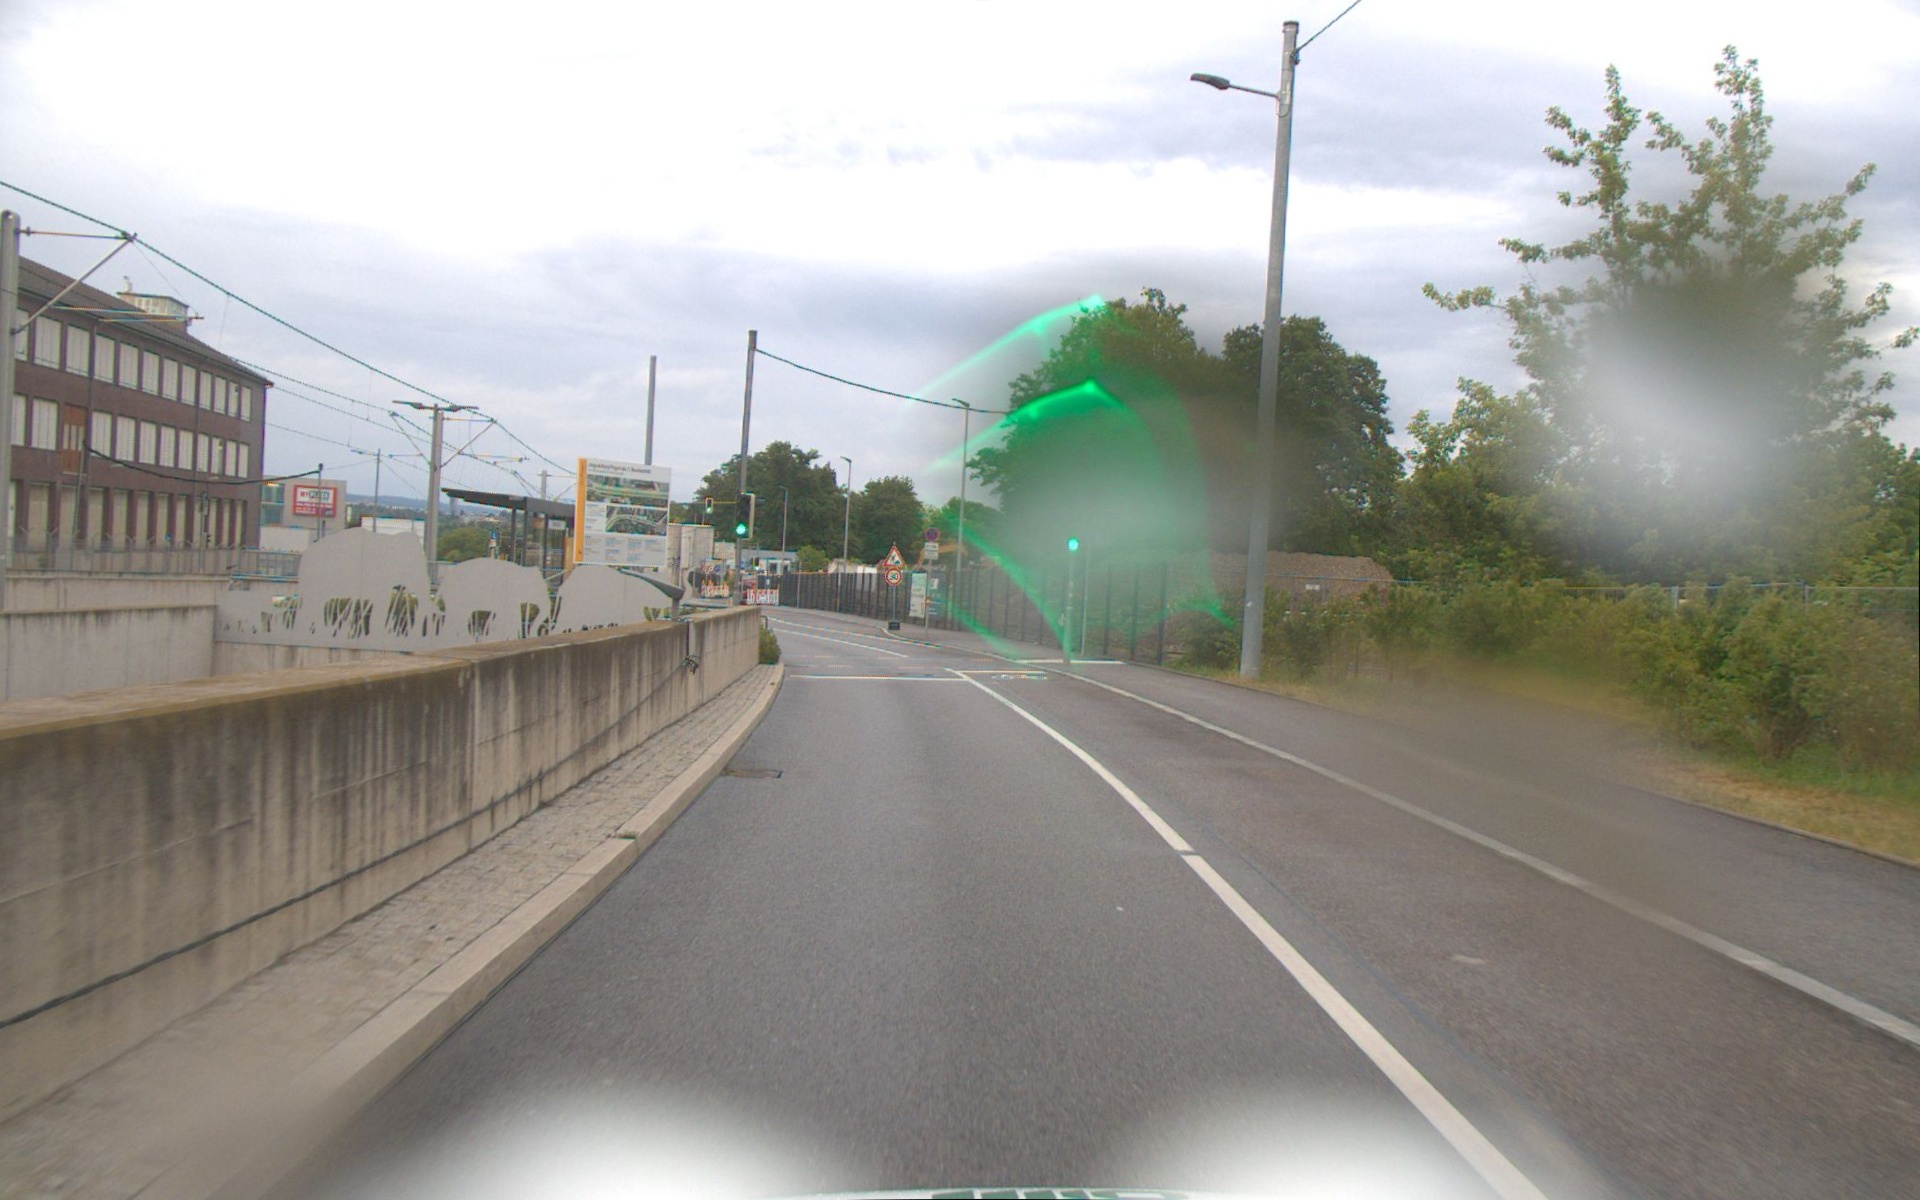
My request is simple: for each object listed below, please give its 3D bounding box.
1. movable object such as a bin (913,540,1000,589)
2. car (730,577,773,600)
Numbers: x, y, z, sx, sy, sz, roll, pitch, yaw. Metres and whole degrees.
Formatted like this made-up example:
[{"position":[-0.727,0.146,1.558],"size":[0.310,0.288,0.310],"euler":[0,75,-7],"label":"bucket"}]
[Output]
[{"position":[-0.478,-4.660,218.349],"size":[11.014,6.100,3.487],"euler":[1,0,-6],"label":"movable object such as a bin"},{"position":[-17.127,-0.922,135.799],"size":[1.781,1.825,4.411],"euler":[2,0,17],"label":"car"}]
